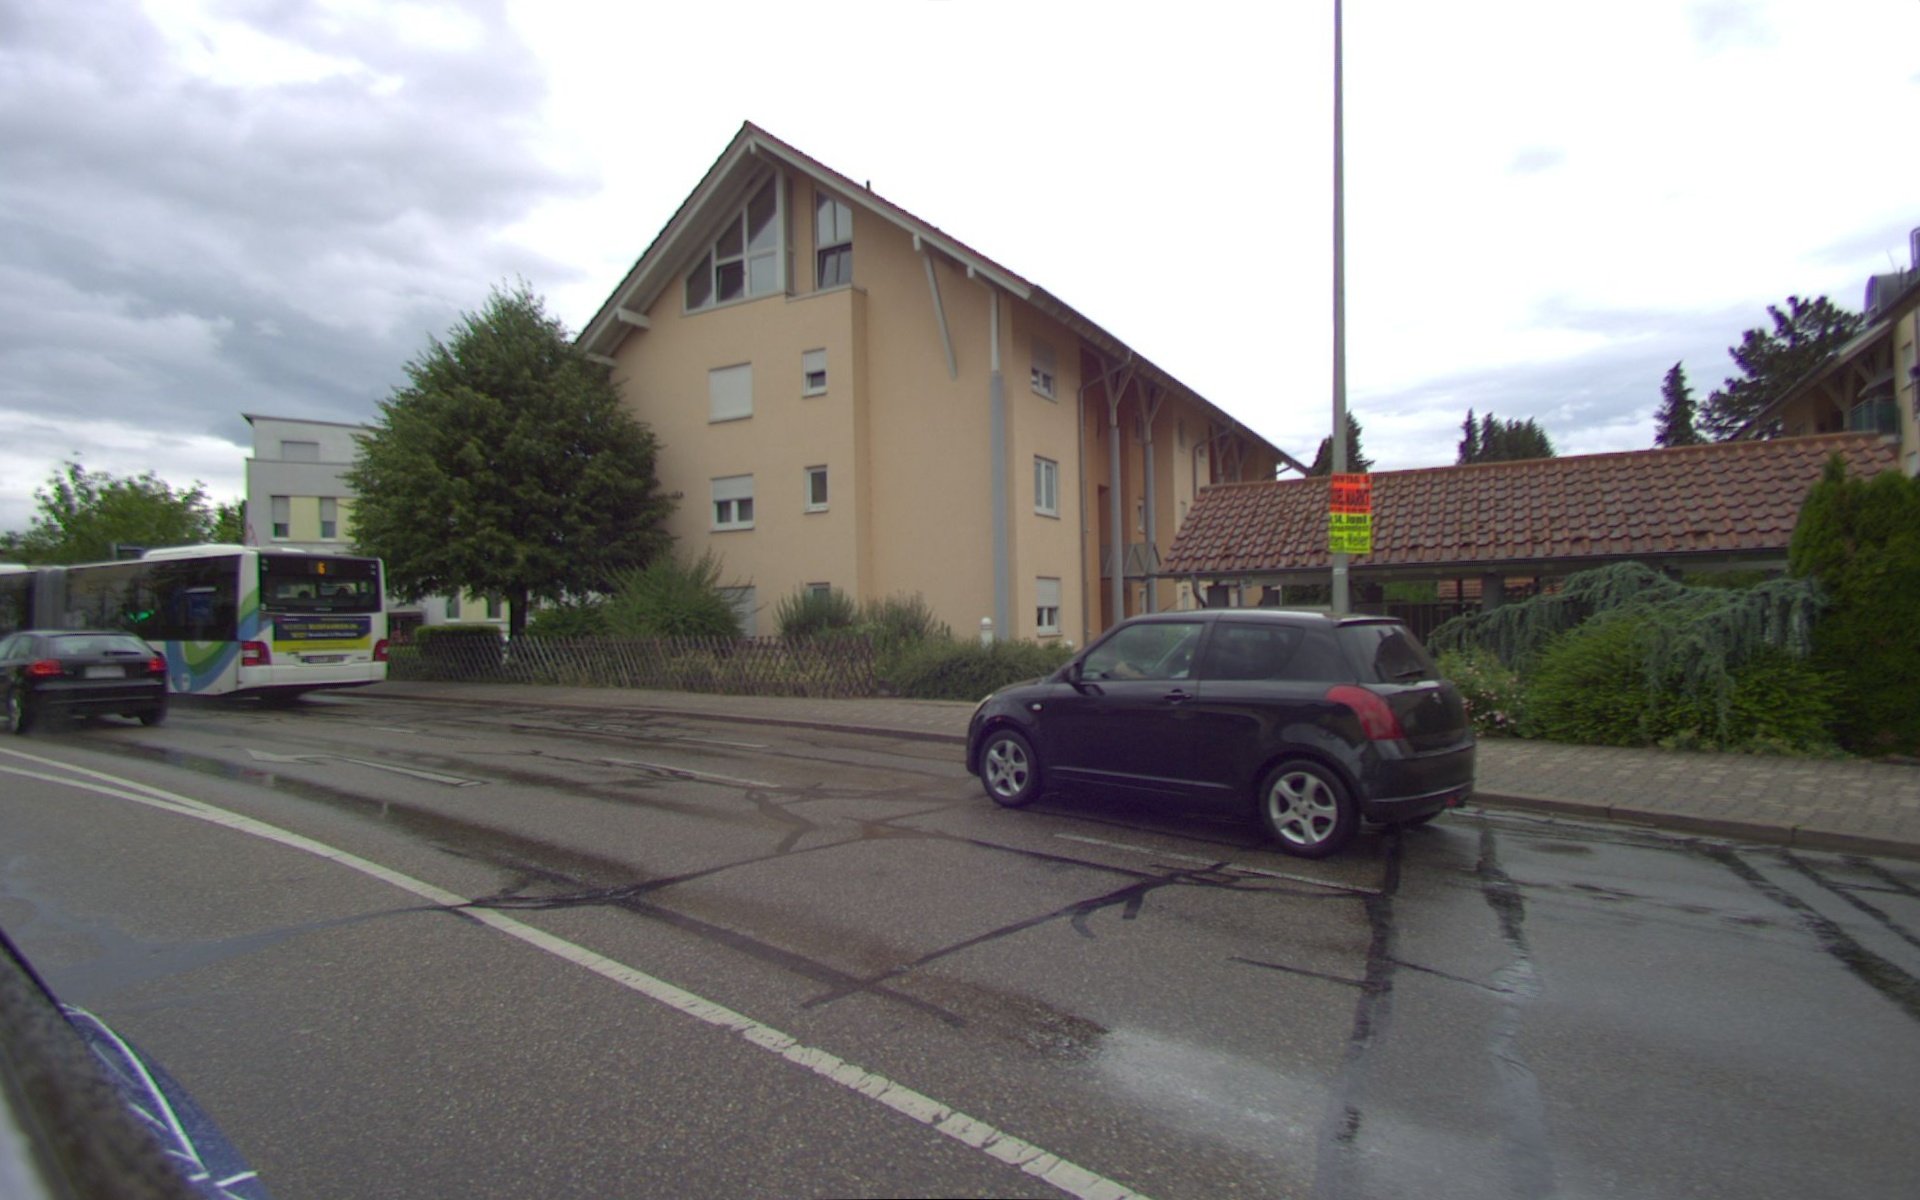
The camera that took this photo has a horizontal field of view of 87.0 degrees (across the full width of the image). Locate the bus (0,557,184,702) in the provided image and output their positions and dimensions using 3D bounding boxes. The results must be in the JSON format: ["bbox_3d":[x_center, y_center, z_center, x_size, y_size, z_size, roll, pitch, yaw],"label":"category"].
[{"bbox_3d":[-22.577,0.769,24.391,9.160,3.023,2.530,-2,-3,28],"label":"bus"}]

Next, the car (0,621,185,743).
[{"bbox_3d":[-13.575,1.123,15.089,4.278,1.529,1.845,-1,0,32],"label":"car"}]

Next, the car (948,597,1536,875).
[{"bbox_3d":[1.746,0.782,7.125,1.569,1.433,3.698,2,-3,-44],"label":"car"}]

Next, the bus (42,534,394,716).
[{"bbox_3d":[-14.895,0.560,20.086,8.374,3.023,2.566,-2,-3,31],"label":"bus"}]
